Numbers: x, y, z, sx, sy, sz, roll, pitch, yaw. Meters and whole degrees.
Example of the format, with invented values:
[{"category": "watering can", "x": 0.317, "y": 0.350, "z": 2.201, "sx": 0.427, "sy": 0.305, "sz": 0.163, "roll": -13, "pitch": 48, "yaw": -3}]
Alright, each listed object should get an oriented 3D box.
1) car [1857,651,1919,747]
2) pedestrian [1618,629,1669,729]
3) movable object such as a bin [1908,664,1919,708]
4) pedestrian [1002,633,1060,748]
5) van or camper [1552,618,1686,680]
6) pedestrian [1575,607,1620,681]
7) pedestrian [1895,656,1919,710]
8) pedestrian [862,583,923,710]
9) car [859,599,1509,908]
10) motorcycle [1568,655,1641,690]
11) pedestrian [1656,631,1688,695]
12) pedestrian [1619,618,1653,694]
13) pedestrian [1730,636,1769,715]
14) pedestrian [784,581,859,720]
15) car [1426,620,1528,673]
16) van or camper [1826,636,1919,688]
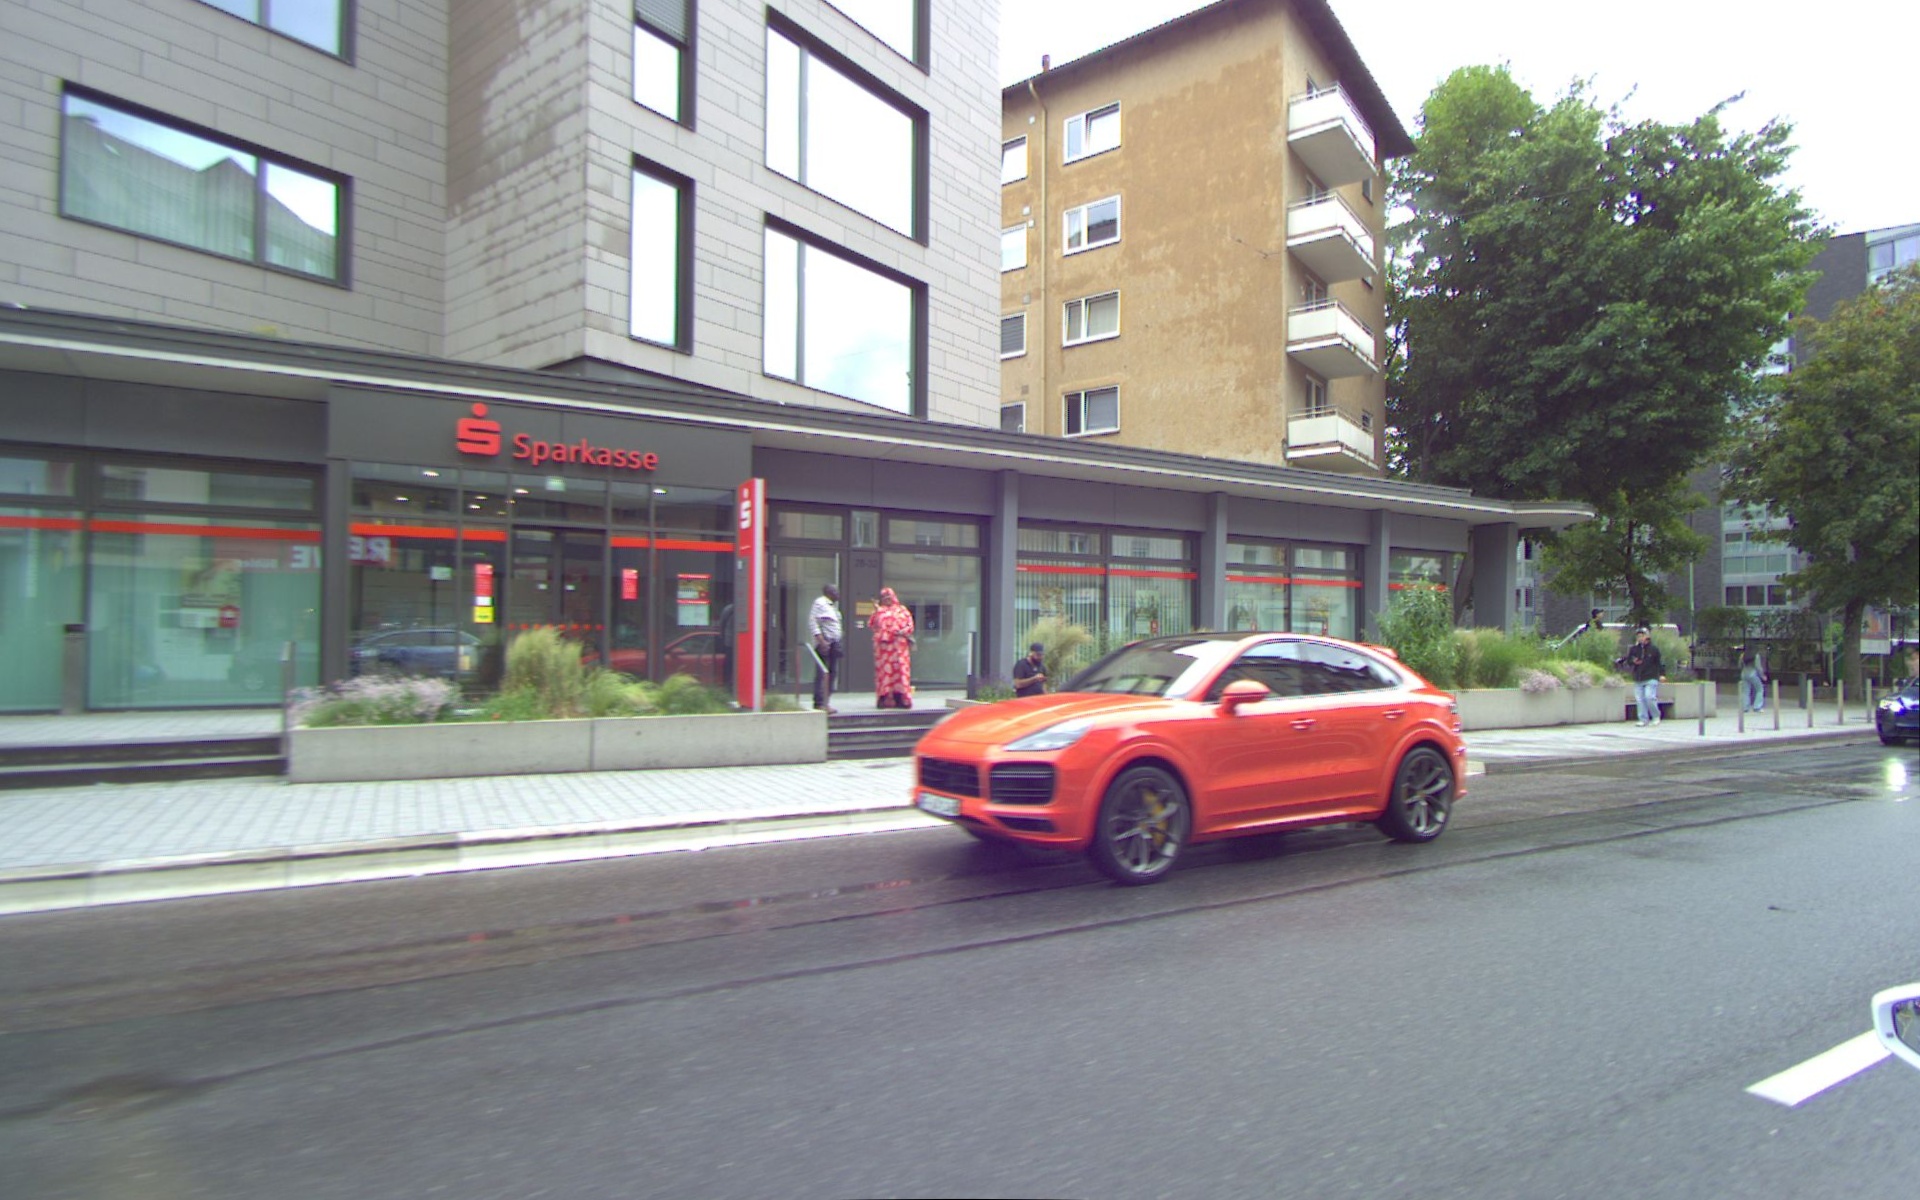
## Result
[{"category": "car", "x": 17.572, "y": 1.642, "z": 17.202, "sx": 4.856, "sy": 1.531, "sz": 1.946, "roll": 2, "pitch": -3, "yaw": -31}, {"category": "pedestrian", "x": 13.143, "y": 1.488, "z": 19.312, "sx": 0.713, "sy": 1.850, "sz": 0.718, "roll": 0, "pitch": -1, "yaw": 41}, {"category": "movable object such as a bin", "x": 26.298, "y": 2.342, "z": 27.216, "sx": 0.955, "sy": 1.149, "sz": 0.699, "roll": 2, "pitch": -1, "yaw": -33}, {"category": "pedestrian", "x": 0.927, "y": 1.152, "z": 13.017, "sx": 0.710, "sy": 1.439, "sz": 0.592, "roll": 1, "pitch": -1, "yaw": 5}, {"category": "van or camper", "x": 27.602, "y": 2.009, "z": 42.263, "sx": 4.537, "sy": 2.296, "sz": 2.207, "roll": 2, "pitch": 0, "yaw": 32}, {"category": "pedestrian", "x": 16.275, "y": 1.116, "z": 25.644, "sx": 0.690, "sy": 1.869, "sz": 0.851, "roll": 2, "pitch": -2, "yaw": -44}, {"category": "pedestrian", "x": 26.567, "y": 2.309, "z": 28.126, "sx": 0.525, "sy": 1.493, "sz": 0.457, "roll": 2, "pitch": -1, "yaw": -33}, {"category": "pedestrian", "x": -0.924, "y": 0.639, "z": 13.910, "sx": 0.784, "sy": 1.700, "sz": 0.713, "roll": 1, "pitch": -1, "yaw": -2}, {"category": "car", "x": 1.907, "y": 1.043, "z": 8.029, "sx": 5.001, "sy": 1.787, "sz": 2.096, "roll": 3, "pitch": -4, "yaw": -31}, {"category": "motorcycle", "x": 21.650, "y": 2.408, "z": 33.777, "sx": 0.783, "sy": 1.001, "sz": 2.053, "roll": 1, "pitch": 1, "yaw": -14}, {"category": "pedestrian", "x": 21.177, "y": 1.859, "z": 29.879, "sx": 0.711, "sy": 1.850, "sz": 0.720, "roll": 0, "pitch": -1, "yaw": 32}, {"category": "pedestrian", "x": 16.248, "y": 1.333, "z": 24.144, "sx": 0.646, "sy": 1.782, "sz": 0.718, "roll": 0, "pitch": -2, "yaw": 37}, {"category": "pedestrian", "x": 19.068, "y": 1.796, "z": 24.271, "sx": 0.712, "sy": 1.850, "sz": 0.851, "roll": 0, "pitch": -1, "yaw": 38}, {"category": "pedestrian", "x": -1.765, "y": 0.630, "z": 12.794, "sx": 0.705, "sy": 1.700, "sz": 0.710, "roll": 2, "pitch": -1, "yaw": -30}, {"category": "car", "x": 23.490, "y": 2.097, "z": 45.651, "sx": 3.932, "sy": 2.285, "sz": 1.995, "roll": -1, "pitch": -2, "yaw": 33}, {"category": "van or camper", "x": 39.350, "y": 2.580, "z": 41.671, "sx": 4.880, "sy": 2.040, "sz": 1.996, "roll": 1, "pitch": -1, "yaw": 31}]
